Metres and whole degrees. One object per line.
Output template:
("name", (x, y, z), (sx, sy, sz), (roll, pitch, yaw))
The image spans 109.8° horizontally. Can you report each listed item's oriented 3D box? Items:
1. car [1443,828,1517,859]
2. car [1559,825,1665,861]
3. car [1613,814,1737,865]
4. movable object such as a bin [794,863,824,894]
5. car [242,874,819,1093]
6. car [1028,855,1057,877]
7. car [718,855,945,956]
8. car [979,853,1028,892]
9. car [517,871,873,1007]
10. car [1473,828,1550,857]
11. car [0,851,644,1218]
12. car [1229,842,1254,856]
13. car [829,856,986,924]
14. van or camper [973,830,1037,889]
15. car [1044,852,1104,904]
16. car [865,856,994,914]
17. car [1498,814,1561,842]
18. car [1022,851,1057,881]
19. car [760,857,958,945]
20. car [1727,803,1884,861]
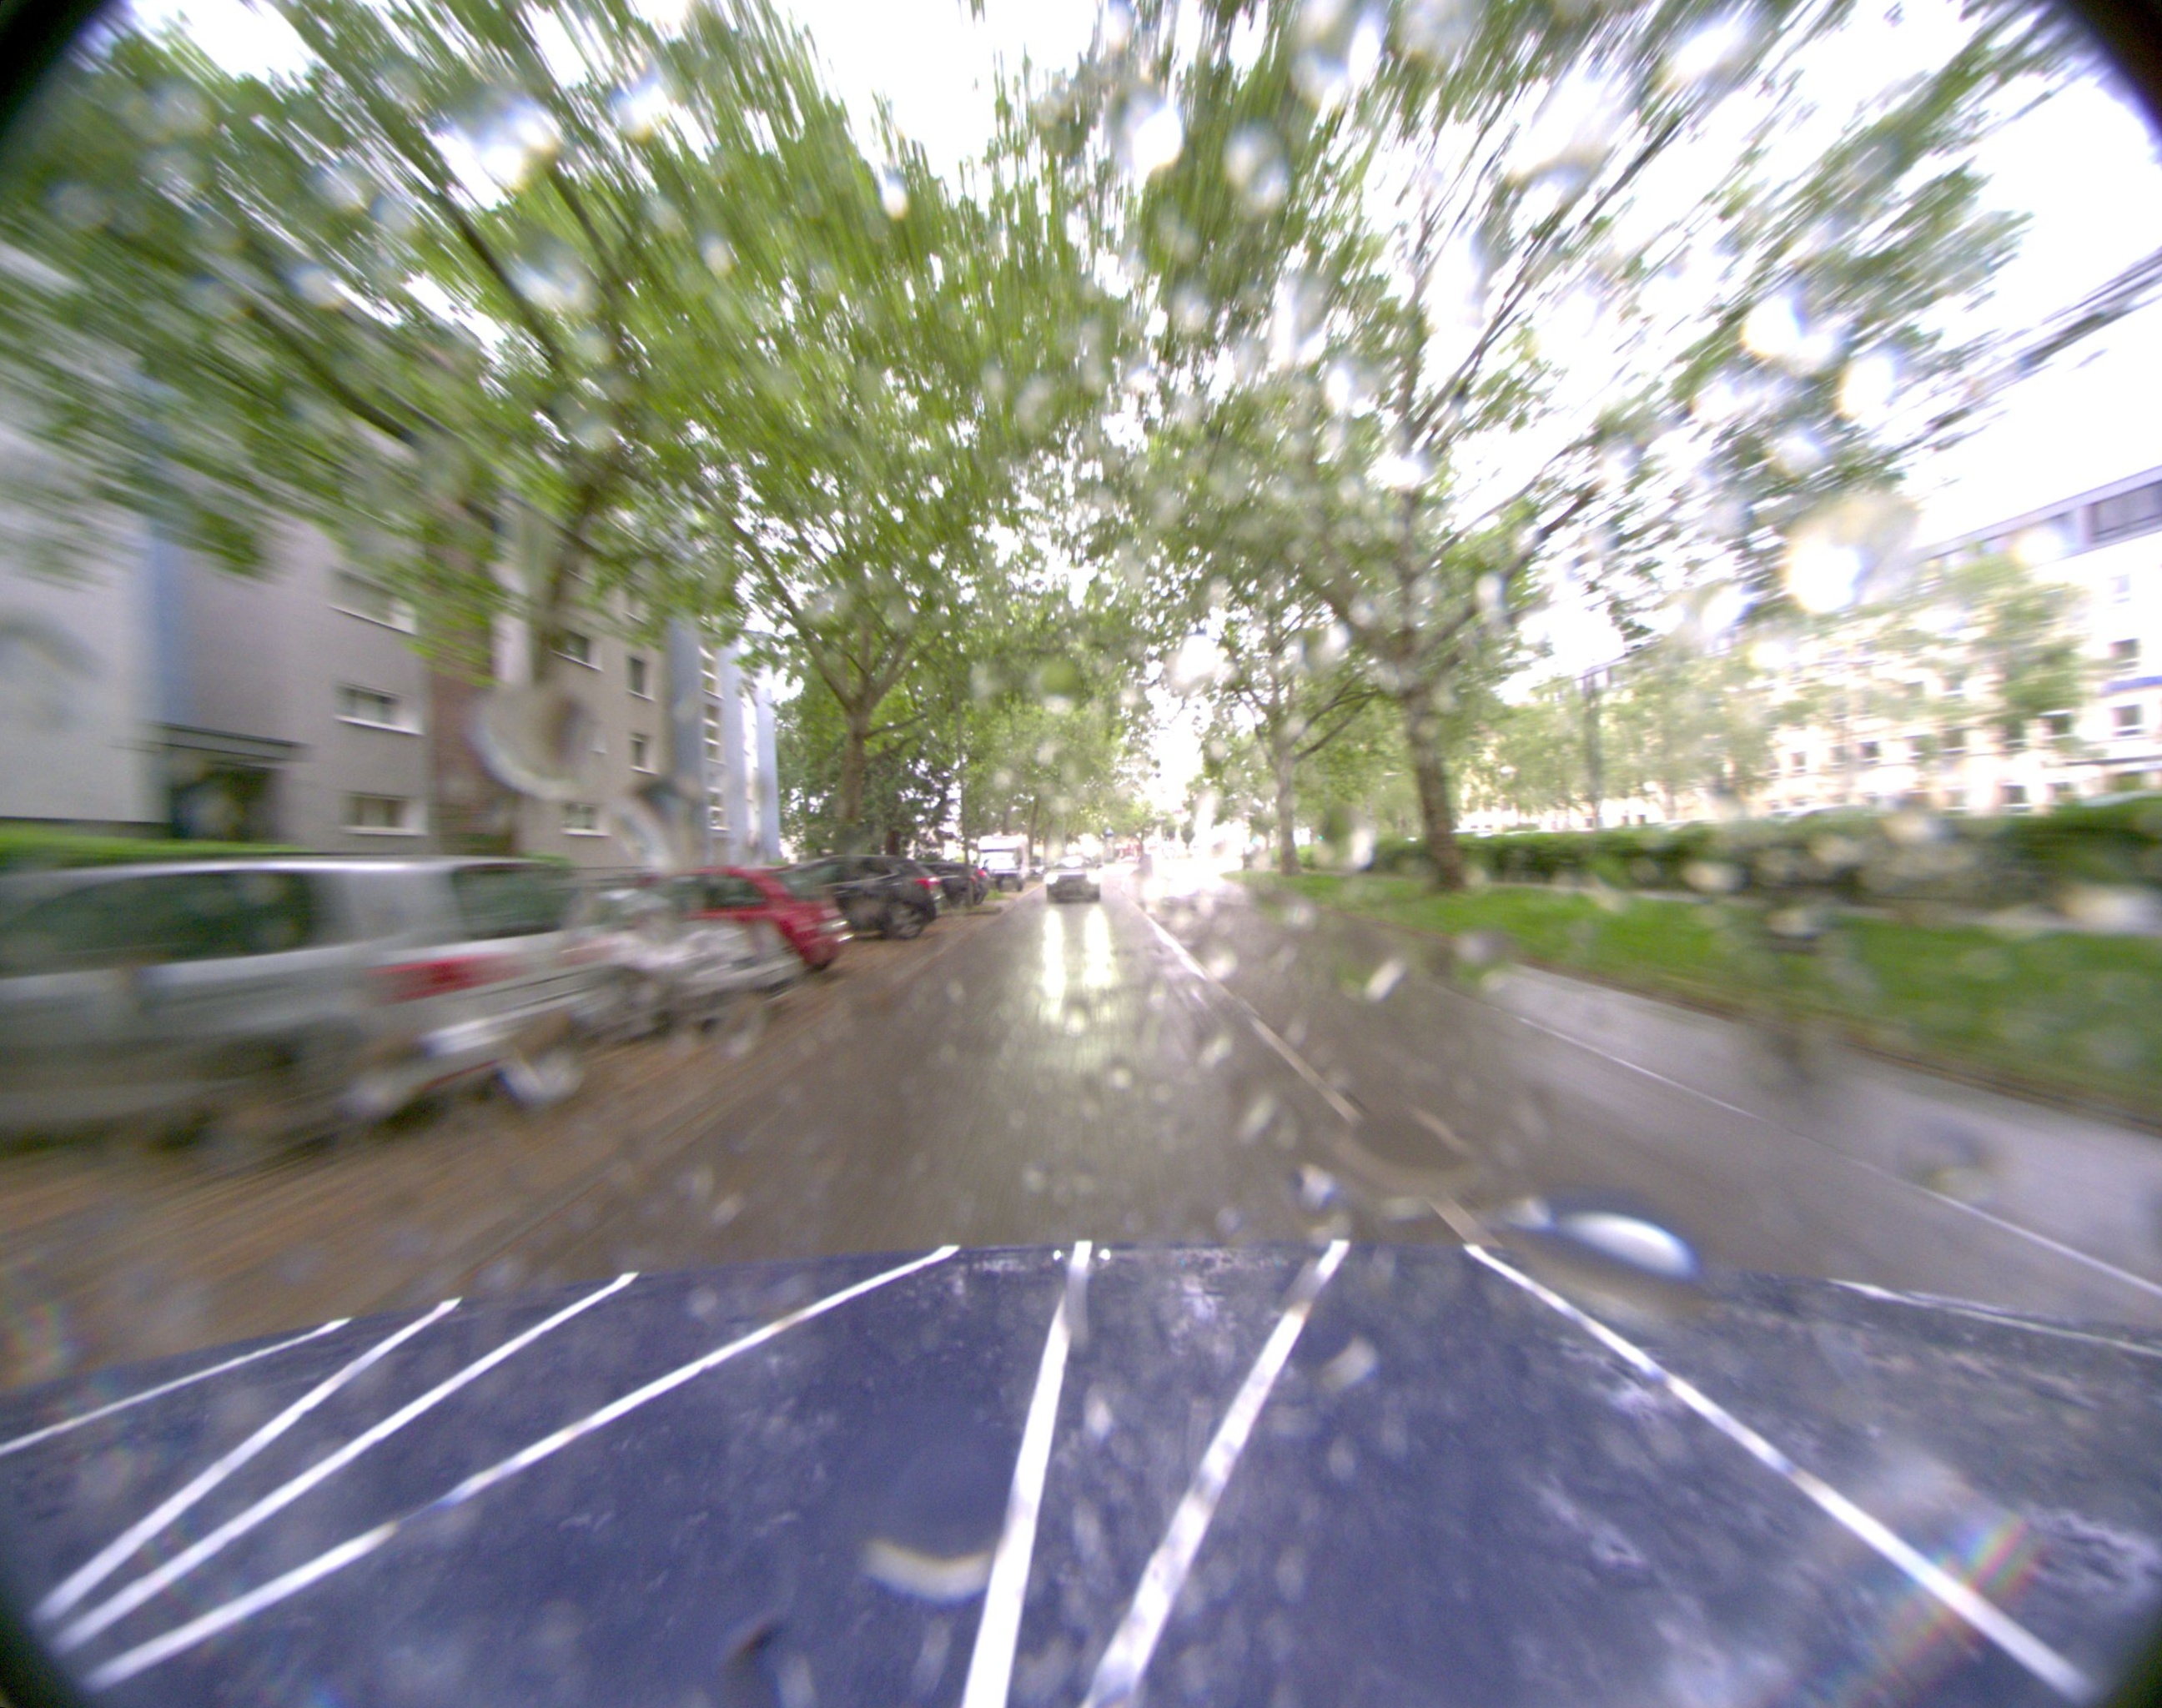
("car", (26.976, -0.715, 51.452), (3.998, 1.822, 1.854), (-4, 0, -3))
("car", (27.072, -0.544, 38.845), (3.996, 1.541, 1.886), (-3, 0, 3))
("car", (26.886, -0.627, 34.517), (3.996, 2.120, 2.000), (-2, 0, 2))
("movable object such as a bin", (-13.730, 1.217, 38.419), (1.217, 1.424, 1.860), (-4, 0, -17))
("car", (-4.821, 1.086, 7.145), (3.997, 1.504, 1.801), (-4, 0, -1))
("car", (-2.694, 0.842, 53.802), (1.552, 1.382, 4.150), (-4, 0, 3))
("car", (-4.773, 0.898, 14.555), (3.873, 1.687, 1.834), (0, -1, -27))
("car", (-3.649, 0.847, 35.273), (1.693, 1.643, 2.943), (-4, 0, -16))
("car", (-4.823, 1.037, 9.845), (3.712, 1.527, 1.738), (-1, 0, 4))
("car", (27.253, -0.725, 48.160), (3.816, 1.589, 1.718), (-4, 0, -2))
("car", (-5.285, 0.971, 4.726), (3.997, 1.717, 1.801), (-4, 0, 1))
("car", (29.491, -0.989, 139.590), (2.190, 2.242, 4.893), (-3, 0, 41))
("car", (-5.018, 0.996, 22.059), (4.005, 1.592, 1.799), (-4, 0, -29))
("van or camper", (-3.961, 0.267, 41.015), (2.324, 2.791, 6.864), (-3, 0, 2))
("car", (-0.166, 0.803, 27.471), (1.961, 1.702, 4.175), (0, 0, 2))
("car", (-5.031, 0.995, 25.331), (3.774, 1.592, 1.799), (-4, 0, -29))
("car", (57.123, -3.283, 96.868), (6.212, 3.175, 2.838), (-4, 0, -2))
("car", (-2.572, 0.736, 48.429), (1.920, 1.611, 4.452), (-4, 1, -1))
("car", (-5.120, 1.007, 17.529), (4.005, 1.592, 2.031), (-4, 0, -27))
("car", (27.439, -0.810, 28.891), (3.996, 2.002, 2.000), (-2, 0, 1))
